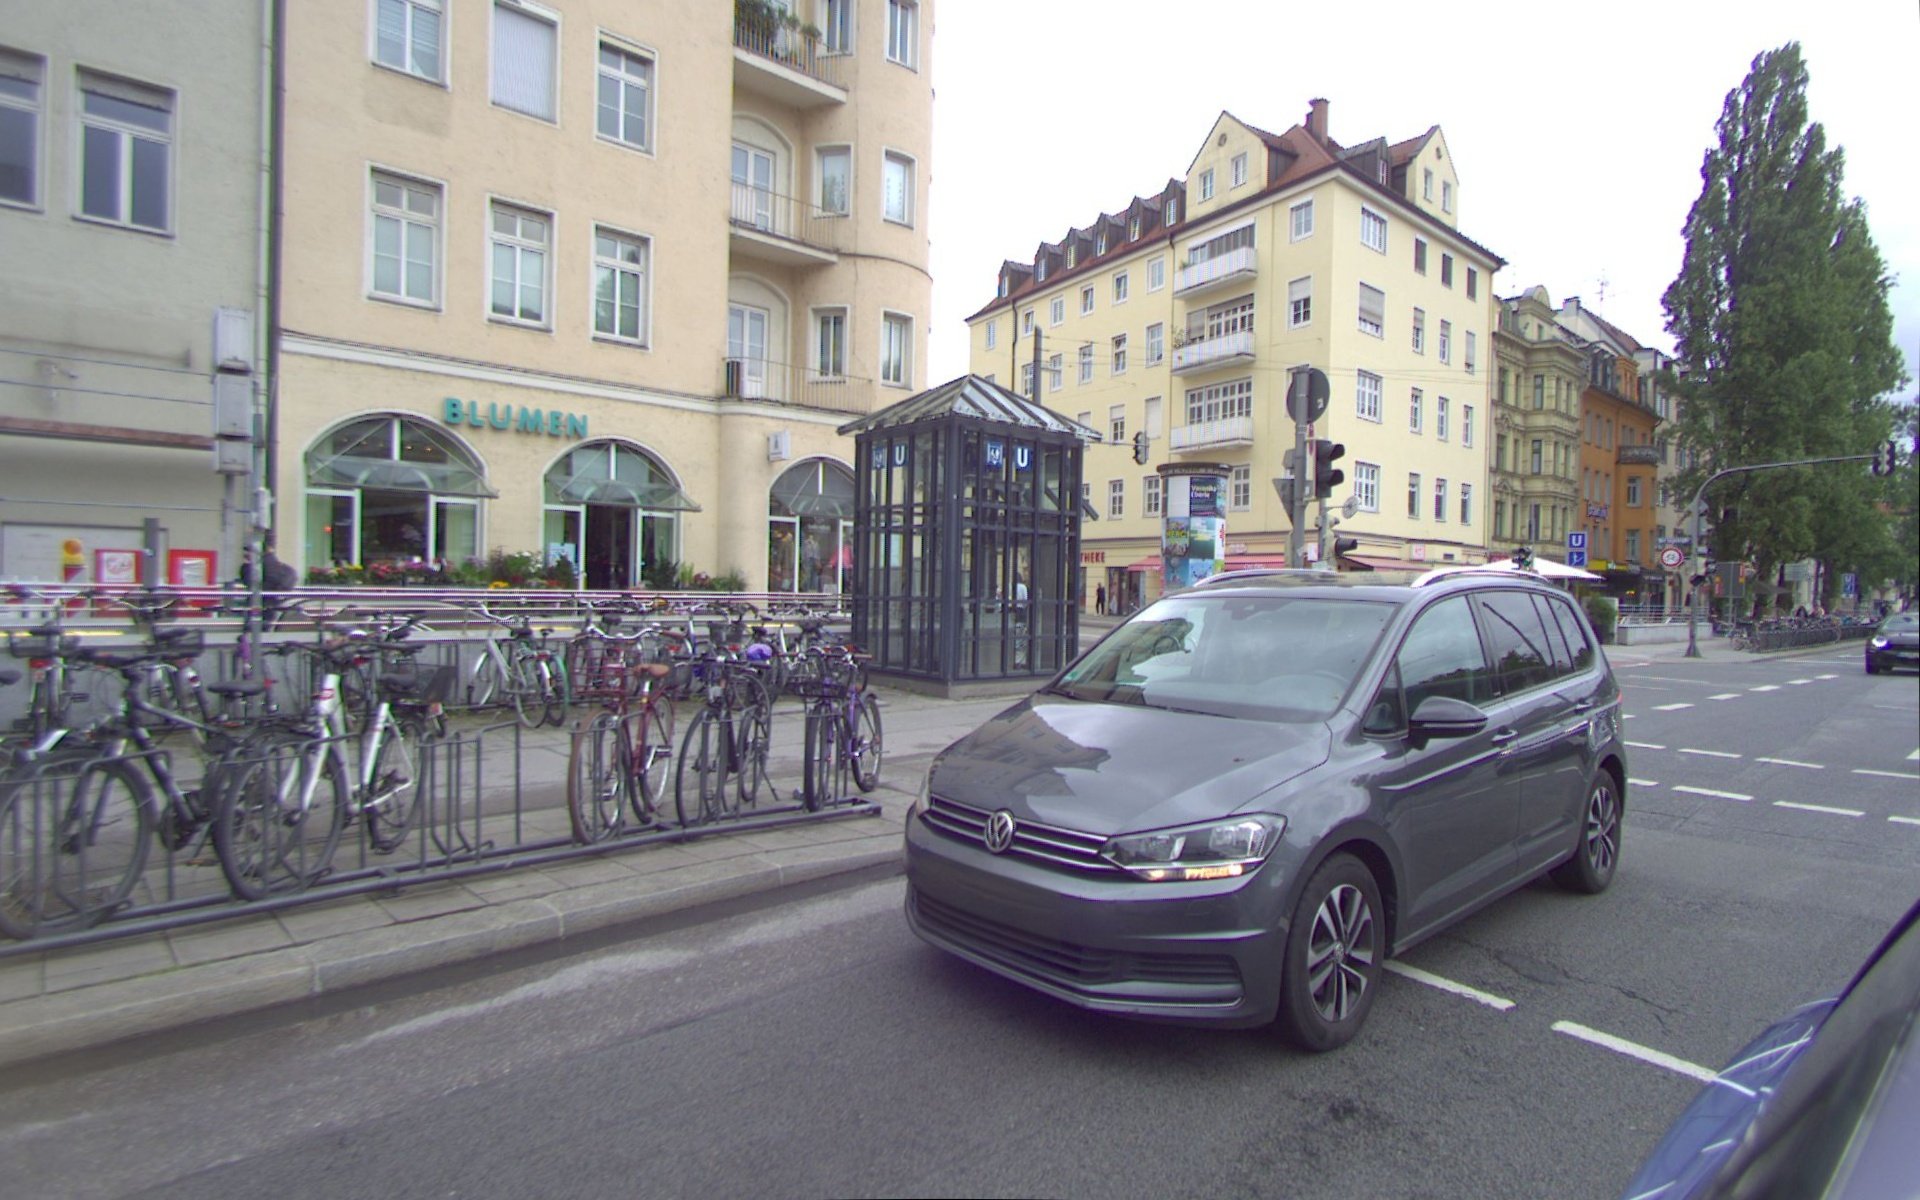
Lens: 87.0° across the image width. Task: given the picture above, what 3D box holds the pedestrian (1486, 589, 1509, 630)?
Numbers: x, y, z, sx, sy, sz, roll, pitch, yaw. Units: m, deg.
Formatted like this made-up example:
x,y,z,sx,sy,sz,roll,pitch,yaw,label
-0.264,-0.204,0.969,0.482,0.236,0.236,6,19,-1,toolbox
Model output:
x,y,z,sx,sy,sz,roll,pitch,yaw,label
21.864,0.370,41.164,0.666,1.653,0.616,1,1,-41,pedestrian

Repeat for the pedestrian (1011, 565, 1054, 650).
x,y,z,sx,sy,sz,roll,pitch,yaw,label
1.583,0.161,22.071,0.623,1.774,0.652,4,-1,-18,pedestrian

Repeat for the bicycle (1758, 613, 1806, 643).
x,y,z,sx,sy,sz,roll,pitch,yaw,label
30.038,1.015,37.002,0.342,1.008,1.840,2,2,5,bicycle

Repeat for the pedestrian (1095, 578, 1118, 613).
x,y,z,sx,sy,sz,roll,pitch,yaw,label
7.181,-0.236,49.533,0.690,1.704,0.854,1,1,-30,pedestrian

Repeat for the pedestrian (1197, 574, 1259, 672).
x,y,z,sx,sy,sz,roll,pitch,yaw,label
4.838,0.402,18.314,0.803,1.712,0.837,1,1,-3,pedestrian

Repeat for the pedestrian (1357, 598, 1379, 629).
x,y,z,sx,sy,sz,roll,pitch,yaw,label
15.966,0.511,39.621,0.691,1.197,0.515,1,1,-43,pedestrian

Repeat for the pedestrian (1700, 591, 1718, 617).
x,y,z,sx,sy,sz,roll,pitch,yaw,label
50.767,0.292,68.564,0.999,1.735,0.747,1,1,-41,pedestrian

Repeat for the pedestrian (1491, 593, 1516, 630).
x,y,z,sx,sy,sz,roll,pitch,yaw,label
21.646,0.470,40.295,0.606,1.440,0.677,1,1,-41,pedestrian

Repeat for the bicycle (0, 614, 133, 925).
x,y,z,sx,sy,sz,roll,pitch,yaw,label
-3.956,0.673,3.894,0.477,1.172,1.809,1,1,-15,bicycle

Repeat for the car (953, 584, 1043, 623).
x,y,z,sx,sy,sz,roll,pitch,yaw,label
1.513,0.125,41.765,1.856,1.440,4.006,1,1,-29,car

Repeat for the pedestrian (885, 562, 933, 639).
x,y,z,sx,sy,sz,roll,pitch,yaw,label
-1.175,0.011,23.456,0.743,1.727,0.673,3,-1,38,pedestrian

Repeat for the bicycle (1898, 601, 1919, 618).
x,y,z,sx,sy,sz,roll,pitch,yaw,label
64.184,0.629,68.215,0.353,1.116,1.743,1,1,4,bicycle

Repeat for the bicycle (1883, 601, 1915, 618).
x,y,z,sx,sy,sz,roll,pitch,yaw,label
63.335,0.647,68.264,0.352,1.116,1.747,1,1,-6,bicycle

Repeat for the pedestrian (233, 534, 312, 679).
x,y,z,sx,sy,sz,roll,pitch,yaw,label
-8.325,0.067,12.259,0.708,1.691,0.659,1,2,-39,pedestrian

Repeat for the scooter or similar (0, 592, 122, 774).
x,y,z,sx,sy,sz,roll,pitch,yaw,label
-6.432,0.545,6.787,1.251,1.190,0.302,1,1,-10,scooter or similar

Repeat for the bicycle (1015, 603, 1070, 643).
x,y,z,sx,sy,sz,roll,pitch,yaw,label
2.295,0.621,28.312,1.574,1.046,0.353,2,1,36,bicycle

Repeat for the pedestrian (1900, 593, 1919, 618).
x,y,z,sx,sy,sz,roll,pitch,yaw,label
64.184,0.350,68.325,0.743,1.659,0.700,1,-1,6,pedestrian

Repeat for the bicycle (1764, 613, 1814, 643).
x,y,z,sx,sy,sz,roll,pitch,yaw,label
30.529,1.016,37.286,0.341,1.008,1.841,1,2,2,bicycle

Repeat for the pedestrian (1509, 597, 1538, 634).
x,y,z,sx,sy,sz,roll,pitch,yaw,label
20.823,0.579,37.407,0.782,1.328,0.679,0,1,-41,pedestrian

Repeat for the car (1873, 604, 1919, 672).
x,y,z,sx,sy,sz,roll,pitch,yaw,label
23.687,0.895,24.632,3.902,1.523,1.778,-1,1,-42,car

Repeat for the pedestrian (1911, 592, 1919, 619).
x,y,z,sx,sy,sz,roll,pitch,yaw,label
65.376,0.359,68.793,0.741,1.824,0.883,2,-1,-30,pedestrian

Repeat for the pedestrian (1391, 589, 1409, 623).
x,y,z,sx,sy,sz,roll,pitch,yaw,label
17.651,0.239,40.563,0.518,1.315,0.479,1,0,-43,pedestrian

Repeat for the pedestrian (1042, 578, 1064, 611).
x,y,z,sx,sy,sz,roll,pitch,yaw,label
4.622,-0.273,50.532,0.752,1.663,0.761,1,1,-31,pedestrian

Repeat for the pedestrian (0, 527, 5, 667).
x,y,z,sx,sy,sz,roll,pitch,yaw,label
-11.962,-0.053,12.108,0.745,1.671,0.752,1,2,-42,pedestrian

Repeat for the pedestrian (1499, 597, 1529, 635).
x,y,z,sx,sy,sz,roll,pitch,yaw,label
20.164,0.575,36.834,0.782,1.328,0.679,0,1,-41,pedestrian

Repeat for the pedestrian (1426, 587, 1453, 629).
x,y,z,sx,sy,sz,roll,pitch,yaw,label
19.505,0.322,41.136,0.772,1.653,0.711,1,1,-41,pedestrian

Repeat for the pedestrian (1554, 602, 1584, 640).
x,y,z,sx,sy,sz,roll,pitch,yaw,label
21.699,0.744,36.052,0.782,1.327,0.679,0,1,-41,pedestrian

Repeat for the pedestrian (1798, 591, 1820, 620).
x,y,z,sx,sy,sz,roll,pitch,yaw,label
46.339,0.286,55.236,0.749,1.582,0.761,1,0,-39,pedestrian

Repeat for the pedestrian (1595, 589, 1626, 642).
x,y,z,sx,sy,sz,roll,pitch,yaw,label
22.656,0.526,35.268,0.877,1.765,0.848,2,1,33,pedestrian

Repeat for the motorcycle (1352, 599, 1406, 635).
x,y,z,sx,sy,sz,roll,pitch,yaw,label
14.988,0.594,36.211,1.744,1.215,0.539,1,1,20,motorcycle

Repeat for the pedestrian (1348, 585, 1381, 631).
x,y,z,sx,sy,sz,roll,pitch,yaw,label
15.307,0.278,38.336,1.024,1.704,0.835,1,1,15,pedestrian

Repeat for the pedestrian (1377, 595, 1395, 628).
x,y,z,sx,sy,sz,roll,pitch,yaw,label
17.232,0.459,40.959,0.518,1.315,0.479,1,0,-43,pedestrian

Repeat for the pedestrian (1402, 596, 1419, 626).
x,y,z,sx,sy,sz,roll,pitch,yaw,label
18.369,0.454,41.260,0.518,1.180,0.479,1,0,-43,pedestrian

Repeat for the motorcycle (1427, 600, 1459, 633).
x,y,z,sx,sy,sz,roll,pitch,yaw,label
18.138,0.610,37.986,1.543,1.171,0.487,0,1,-41,motorcycle

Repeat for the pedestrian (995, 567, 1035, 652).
x,y,z,sx,sy,sz,roll,pitch,yaw,label
1.127,0.189,20.842,0.550,1.692,0.568,4,-1,-18,pedestrian

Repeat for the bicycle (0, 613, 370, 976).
x,y,z,sx,sy,sz,roll,pitch,yaw,label
-3.291,0.675,4.340,0.537,1.172,1.806,1,1,-3,bicycle

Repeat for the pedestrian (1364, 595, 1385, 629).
x,y,z,sx,sy,sz,roll,pitch,yaw,label
16.502,0.477,40.285,0.691,1.308,0.515,1,1,-43,pedestrian

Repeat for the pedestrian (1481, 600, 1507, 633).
x,y,z,sx,sy,sz,roll,pitch,yaw,label
20.081,0.615,38.066,0.688,1.218,0.627,1,1,-40,pedestrian

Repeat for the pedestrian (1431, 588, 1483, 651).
x,y,z,sx,sy,sz,roll,pitch,yaw,label
14.432,0.562,29.402,1.045,1.777,0.937,1,1,-35,pedestrian

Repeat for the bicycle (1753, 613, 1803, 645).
x,y,z,sx,sy,sz,roll,pitch,yaw,label
29.007,1.007,35.930,0.341,1.008,1.841,1,2,3,bicycle

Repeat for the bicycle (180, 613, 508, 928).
x,y,z,sx,sy,sz,roll,pitch,yaw,label
-2.809,0.680,4.855,0.537,1.172,1.806,1,1,-3,bicycle

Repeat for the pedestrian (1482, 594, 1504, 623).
x,y,z,sx,sy,sz,roll,pitch,yaw,label
22.864,0.368,43.392,0.654,1.237,0.601,1,1,-41,pedestrian

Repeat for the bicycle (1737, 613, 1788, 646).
x,y,z,sx,sy,sz,roll,pitch,yaw,label
27.340,0.993,34.500,0.341,1.008,1.841,1,2,3,bicycle

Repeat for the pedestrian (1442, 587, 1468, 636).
x,y,z,sx,sy,sz,roll,pitch,yaw,label
17.836,0.399,36.460,0.752,1.716,0.762,1,1,24,pedestrian

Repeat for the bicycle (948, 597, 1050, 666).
x,y,z,sx,sy,sz,roll,pitch,yaw,label
0.681,0.520,17.297,1.834,1.121,0.567,1,1,-41,bicycle

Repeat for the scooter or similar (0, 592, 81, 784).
x,y,z,sx,sy,sz,roll,pitch,yaw,label
-6.478,0.544,6.437,1.319,1.190,0.365,1,1,-10,scooter or similar

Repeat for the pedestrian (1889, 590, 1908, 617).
x,y,z,sx,sy,sz,roll,pitch,yaw,label
63.342,0.224,68.319,0.638,1.803,0.702,1,-1,-7,pedestrian

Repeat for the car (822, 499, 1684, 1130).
x,y,z,sx,sy,sz,roll,pitch,yaw,label
1.766,0.596,4.888,4.625,1.668,1.774,1,-1,-41,car
